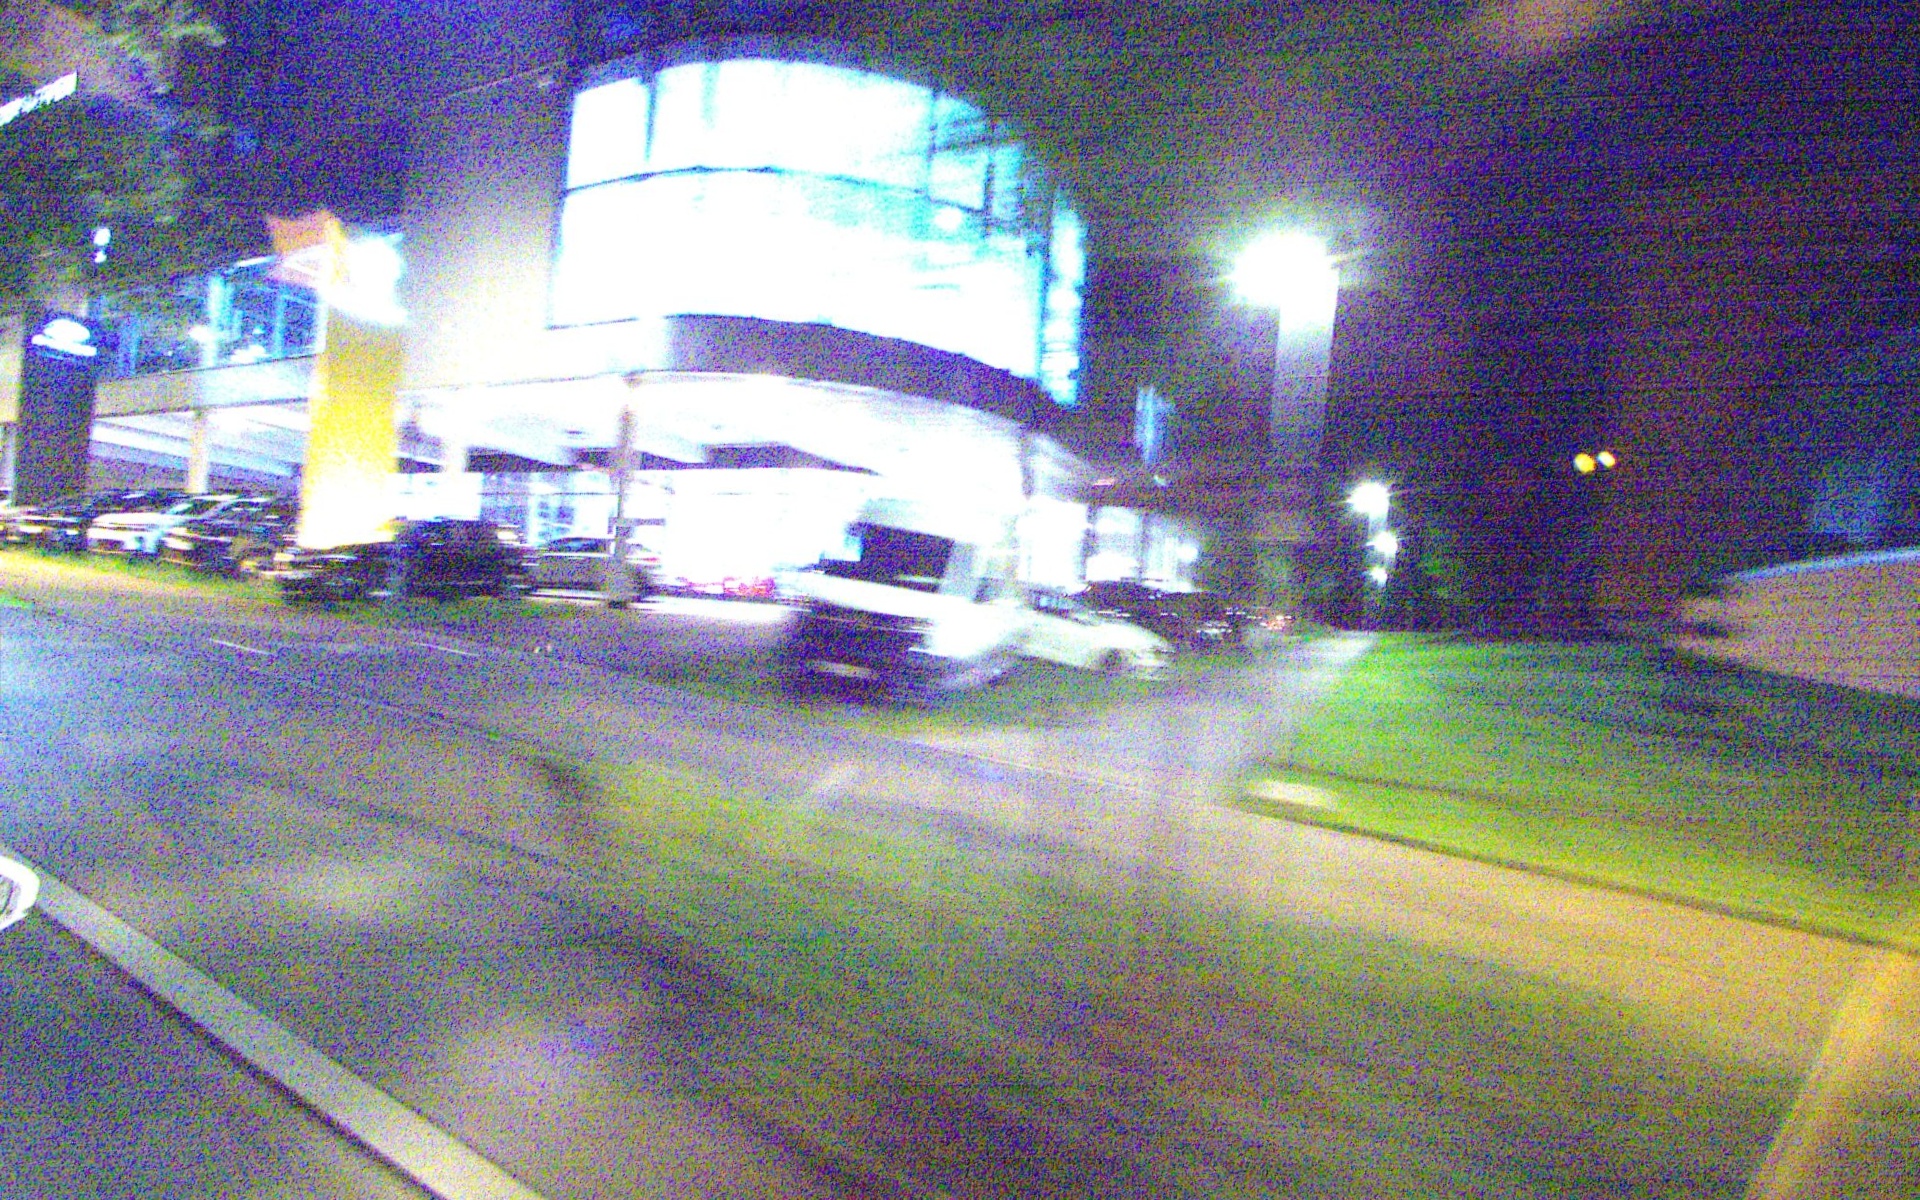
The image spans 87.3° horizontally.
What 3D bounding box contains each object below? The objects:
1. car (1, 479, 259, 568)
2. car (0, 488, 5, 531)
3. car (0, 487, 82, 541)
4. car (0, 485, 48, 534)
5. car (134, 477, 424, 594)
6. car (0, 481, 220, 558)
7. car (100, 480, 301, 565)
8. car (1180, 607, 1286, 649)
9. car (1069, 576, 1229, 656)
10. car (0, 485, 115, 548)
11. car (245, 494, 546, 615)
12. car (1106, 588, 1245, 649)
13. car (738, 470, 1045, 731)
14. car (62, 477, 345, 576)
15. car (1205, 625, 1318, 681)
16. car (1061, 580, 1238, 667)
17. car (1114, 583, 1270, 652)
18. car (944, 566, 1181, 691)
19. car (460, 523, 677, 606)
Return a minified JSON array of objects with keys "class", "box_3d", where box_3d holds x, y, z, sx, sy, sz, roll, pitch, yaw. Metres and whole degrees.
[{"class":"car","box_3d":[-18.435,-1.654,22.597,1.820,1.590,4.087,7,3,19]},{"class":"car","box_3d":[-32.760,-3.077,31.314,1.775,1.399,3.997,7,1,20]},{"class":"car","box_3d":[-27.687,-2.527,28.579,1.684,1.398,3.775,6,3,17]},{"class":"car","box_3d":[-29.938,-2.818,29.764,1.791,1.392,4.032,6,2,14]},{"class":"car","box_3d":[-13.478,-1.191,20.278,1.963,1.833,4.471,7,1,19]},{"class":"car","box_3d":[-21.112,-1.935,24.736,1.737,1.569,4.467,5,3,21]},{"class":"car","box_3d":[-24.454,-2.455,32.527,4.743,1.940,1.834,7,-1,-7]},{"class":"car","box_3d":[10.881,1.140,40.335,3.891,1.413,1.666,3,-2,9]},{"class":"car","box_3d":[4.959,0.384,26.687,3.891,1.624,1.780,6,4,8]},{"class":"car","box_3d":[-25.610,-2.332,27.260,1.685,1.472,3.812,7,2,16]},{"class":"car","box_3d":[-9.494,-0.680,17.341,1.924,1.685,4.212,6,1,20]},{"class":"car","box_3d":[6.299,0.536,29.741,3.804,1.353,1.657,6,1,8]},{"class":"car","box_3d":[-0.540,-0.121,13.701,2.240,2.565,6.028,6,4,14]},{"class":"car","box_3d":[-15.933,-1.480,21.511,1.963,1.710,4.468,7,3,19]},{"class":"car","box_3d":[11.475,2.008,38.422,3.637,1.621,1.735,5,4,-1]},{"class":"car","box_3d":[4.486,0.534,24.166,3.892,1.598,1.799,6,1,8]},{"class":"car","box_3d":[7.356,0.588,32.353,4.578,1.681,2.002,6,-1,8]},{"class":"car","box_3d":[1.847,0.476,18.126,3.891,1.734,1.810,6,2,8]},{"class":"car","box_3d":[-9.000,-0.813,23.434,4.367,1.531,1.716,4,2,-9]}]
